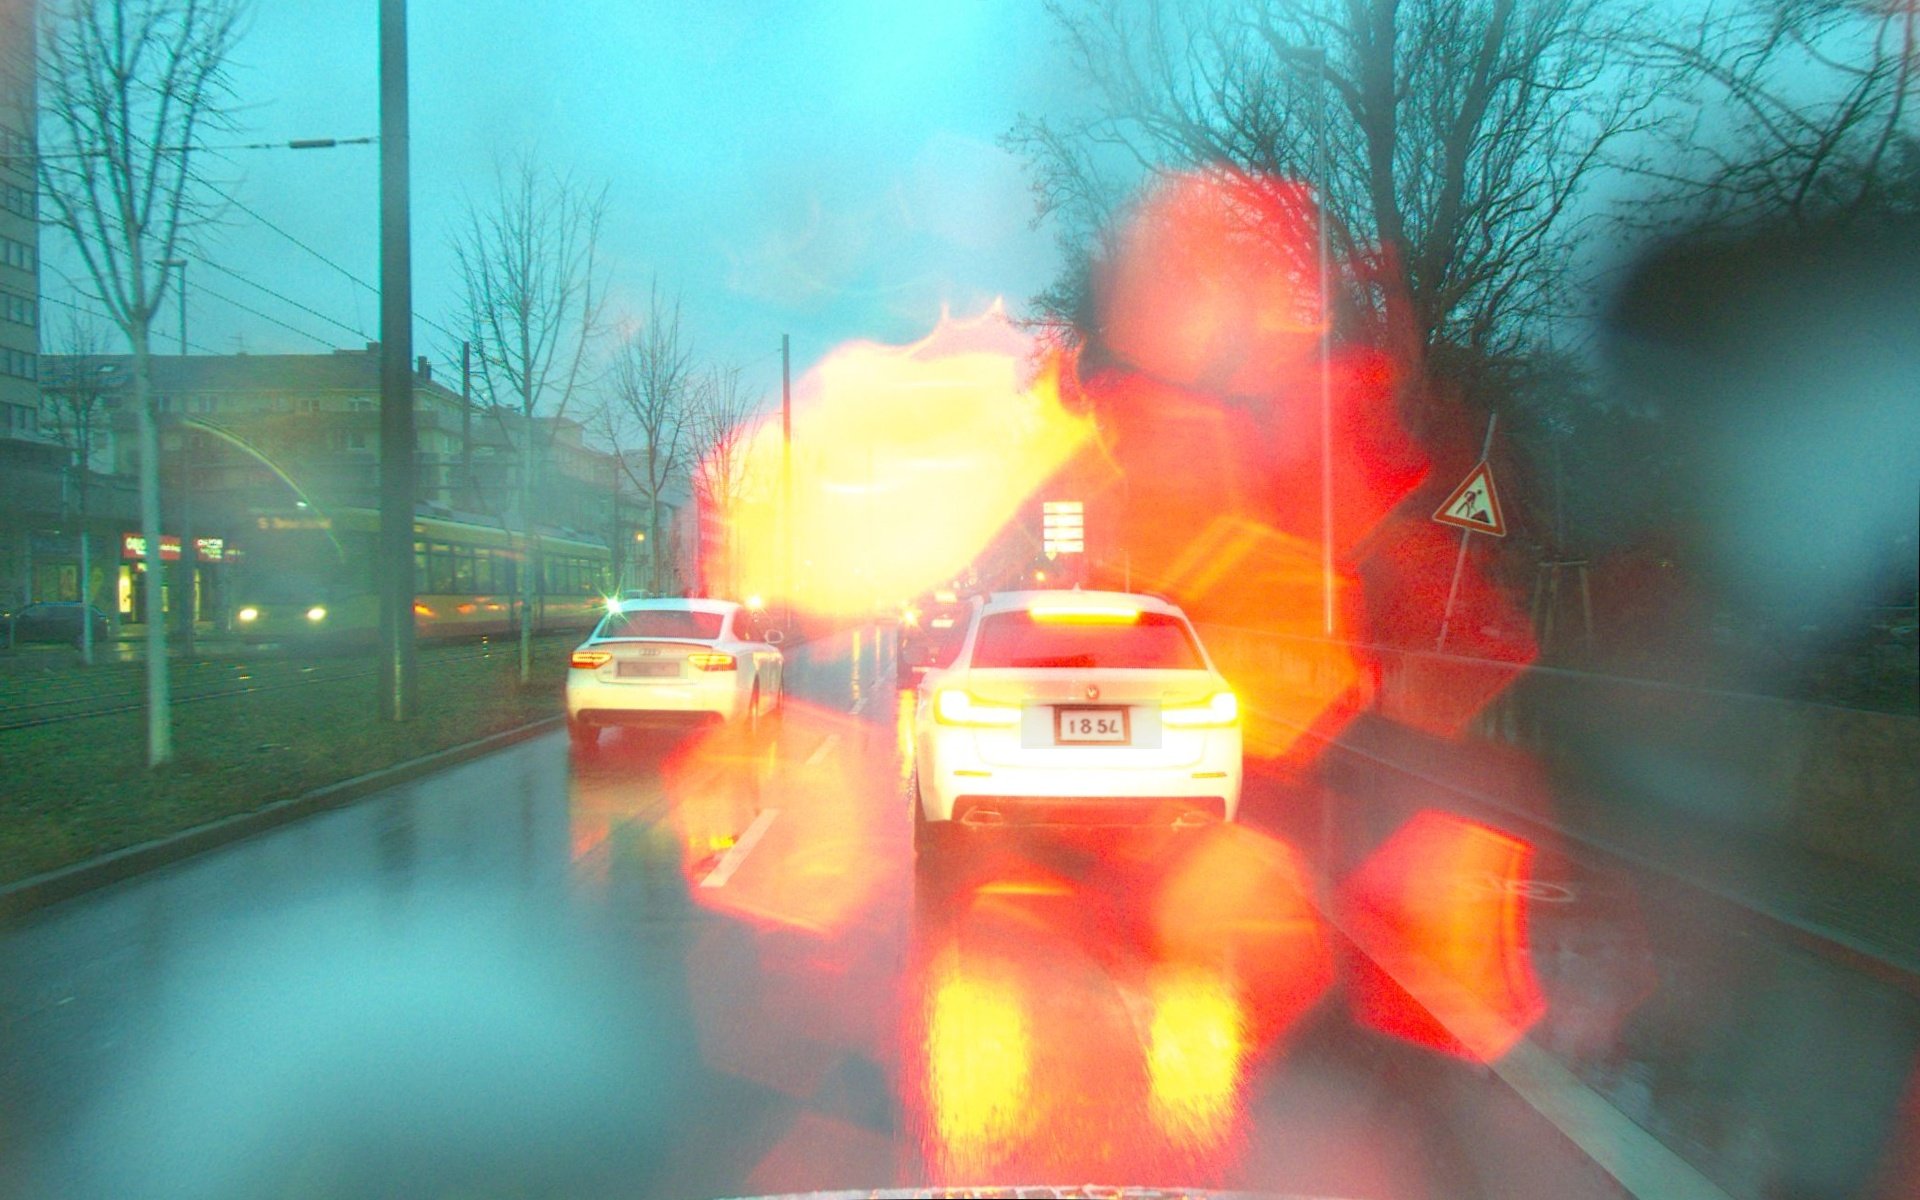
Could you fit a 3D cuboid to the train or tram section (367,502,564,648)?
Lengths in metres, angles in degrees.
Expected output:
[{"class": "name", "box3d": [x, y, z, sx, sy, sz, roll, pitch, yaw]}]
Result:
[{"class": "train or tram section", "box3d": [-13.453, -0.621, 45.926, 2.784, 3.566, 9.156, -1, 0, -1]}]

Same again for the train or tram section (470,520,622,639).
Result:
[{"class": "train or tram section", "box3d": [-13.578, -0.616, 55.064, 2.784, 3.566, 9.156, -1, 0, -1]}]

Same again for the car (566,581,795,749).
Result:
[{"class": "car", "box3d": [-2.729, 0.587, 17.046, 1.724, 1.495, 4.250, 1, 0, -1]}]

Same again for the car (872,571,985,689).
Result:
[{"class": "car", "box3d": [-0.581, 0.521, 30.980, 1.953, 2.049, 3.999, 1, 0, -1]}]

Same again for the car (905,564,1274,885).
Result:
[{"class": "car", "box3d": [0.580, 0.623, 10.324, 1.725, 1.580, 4.248, 1, 0, -3]}]

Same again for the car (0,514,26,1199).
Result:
[{"class": "car", "box3d": [-2.310, 0.669, 0.572, 1.724, 1.621, 3.999, 1, 0, -1]}]

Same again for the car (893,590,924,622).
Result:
[{"class": "car", "box3d": [-3.415, 0.362, 109.324, 1.953, 2.049, 3.999, 1, 0, -1]}]

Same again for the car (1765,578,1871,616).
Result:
[{"class": "car", "box3d": [38.910, -0.146, 75.069, 1.798, 1.691, 3.949, 1, 0, -36]}]

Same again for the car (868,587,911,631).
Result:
[{"class": "car", "box3d": [-3.352, 0.408, 79.430, 1.953, 2.049, 3.999, 1, 0, -1]}]

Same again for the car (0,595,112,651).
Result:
[{"class": "car", "box3d": [-31.770, 0.769, 57.477, 3.787, 1.828, 1.880, -1, 0, -42]}]

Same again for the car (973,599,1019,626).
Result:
[{"class": "car", "box3d": [2.843, 1.004, 129.223, 1.956, 2.049, 3.993, 1, 0, 29]}]

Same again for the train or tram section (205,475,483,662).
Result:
[{"class": "train or tram section", "box3d": [-13.314, -0.622, 36.784, 2.784, 3.566, 9.156, -1, 0, -1]}]
